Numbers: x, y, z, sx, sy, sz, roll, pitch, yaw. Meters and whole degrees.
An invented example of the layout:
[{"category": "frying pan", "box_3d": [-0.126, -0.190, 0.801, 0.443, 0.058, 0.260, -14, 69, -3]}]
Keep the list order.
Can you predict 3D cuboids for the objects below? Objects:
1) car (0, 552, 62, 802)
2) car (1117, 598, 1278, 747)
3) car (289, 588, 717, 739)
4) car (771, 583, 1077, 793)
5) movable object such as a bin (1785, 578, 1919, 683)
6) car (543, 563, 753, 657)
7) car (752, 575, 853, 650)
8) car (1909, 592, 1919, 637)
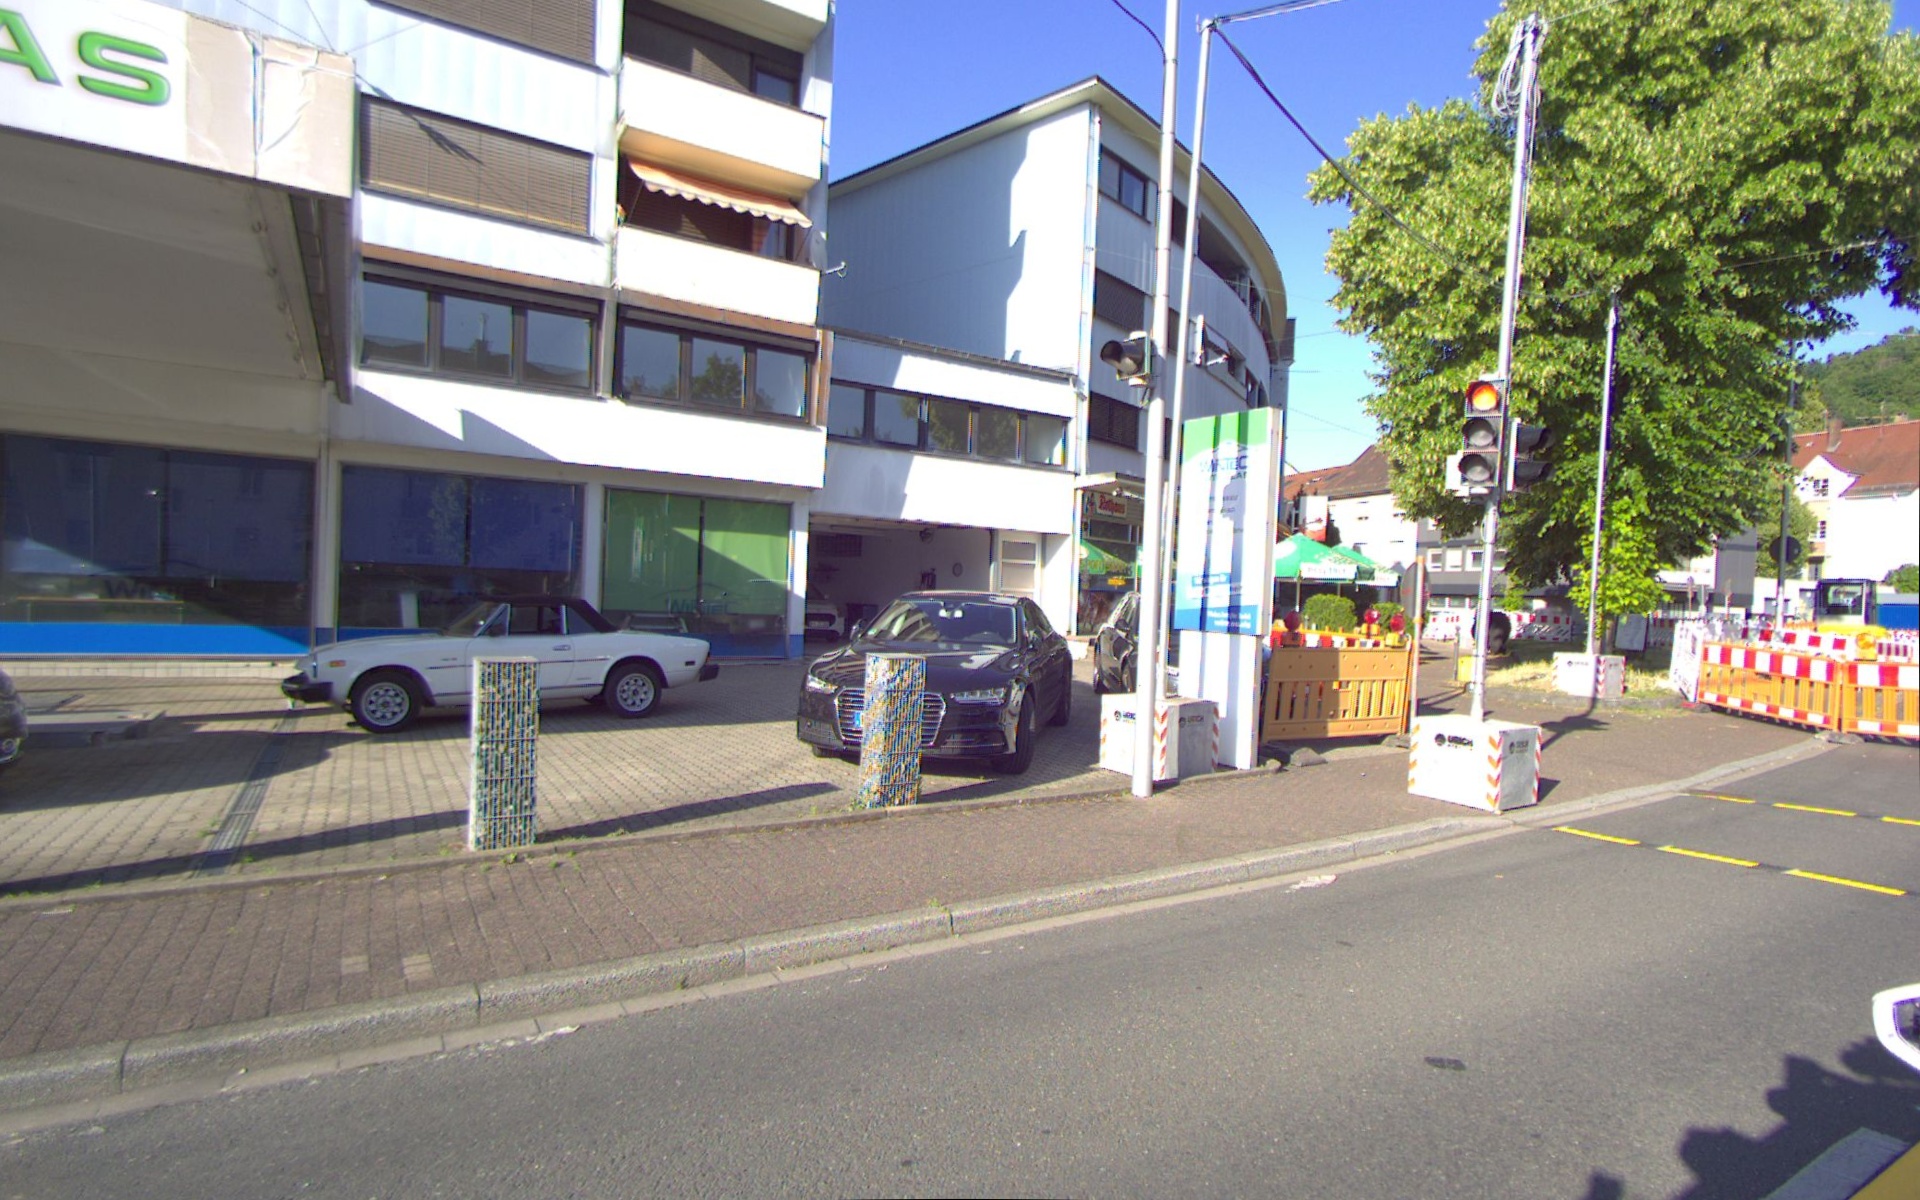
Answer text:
[{"category": "car", "box_3d": [-7.476, 0.408, 5.859, 3.305, 1.506, 1.543, 2, 0, 8]}, {"category": "car", "box_3d": [2.763, 0.745, 12.081, 1.564, 1.457, 3.887, 1, 0, 11]}, {"category": "car", "box_3d": [-4.670, 0.592, 10.488, 3.865, 1.315, 1.511, 1, -1, -35]}, {"category": "car", "box_3d": [-0.020, 0.650, 9.572, 1.893, 1.457, 4.692, 1, -1, 11]}, {"category": "movable object such as a bin", "box_3d": [21.532, 0.702, 24.166, 3.882, 2.356, 1.635, 1, 0, -36]}, {"category": "car", "box_3d": [-6.095, 0.218, 19.710, 3.593, 1.696, 1.707, 2, 0, -34]}, {"category": "car", "box_3d": [-3.889, 0.253, 24.381, 1.550, 1.629, 3.734, 2, 1, -23]}, {"category": "car", "box_3d": [49.535, 0.790, 48.354, 6.043, 2.149, 2.586, 2, 0, -12]}]
